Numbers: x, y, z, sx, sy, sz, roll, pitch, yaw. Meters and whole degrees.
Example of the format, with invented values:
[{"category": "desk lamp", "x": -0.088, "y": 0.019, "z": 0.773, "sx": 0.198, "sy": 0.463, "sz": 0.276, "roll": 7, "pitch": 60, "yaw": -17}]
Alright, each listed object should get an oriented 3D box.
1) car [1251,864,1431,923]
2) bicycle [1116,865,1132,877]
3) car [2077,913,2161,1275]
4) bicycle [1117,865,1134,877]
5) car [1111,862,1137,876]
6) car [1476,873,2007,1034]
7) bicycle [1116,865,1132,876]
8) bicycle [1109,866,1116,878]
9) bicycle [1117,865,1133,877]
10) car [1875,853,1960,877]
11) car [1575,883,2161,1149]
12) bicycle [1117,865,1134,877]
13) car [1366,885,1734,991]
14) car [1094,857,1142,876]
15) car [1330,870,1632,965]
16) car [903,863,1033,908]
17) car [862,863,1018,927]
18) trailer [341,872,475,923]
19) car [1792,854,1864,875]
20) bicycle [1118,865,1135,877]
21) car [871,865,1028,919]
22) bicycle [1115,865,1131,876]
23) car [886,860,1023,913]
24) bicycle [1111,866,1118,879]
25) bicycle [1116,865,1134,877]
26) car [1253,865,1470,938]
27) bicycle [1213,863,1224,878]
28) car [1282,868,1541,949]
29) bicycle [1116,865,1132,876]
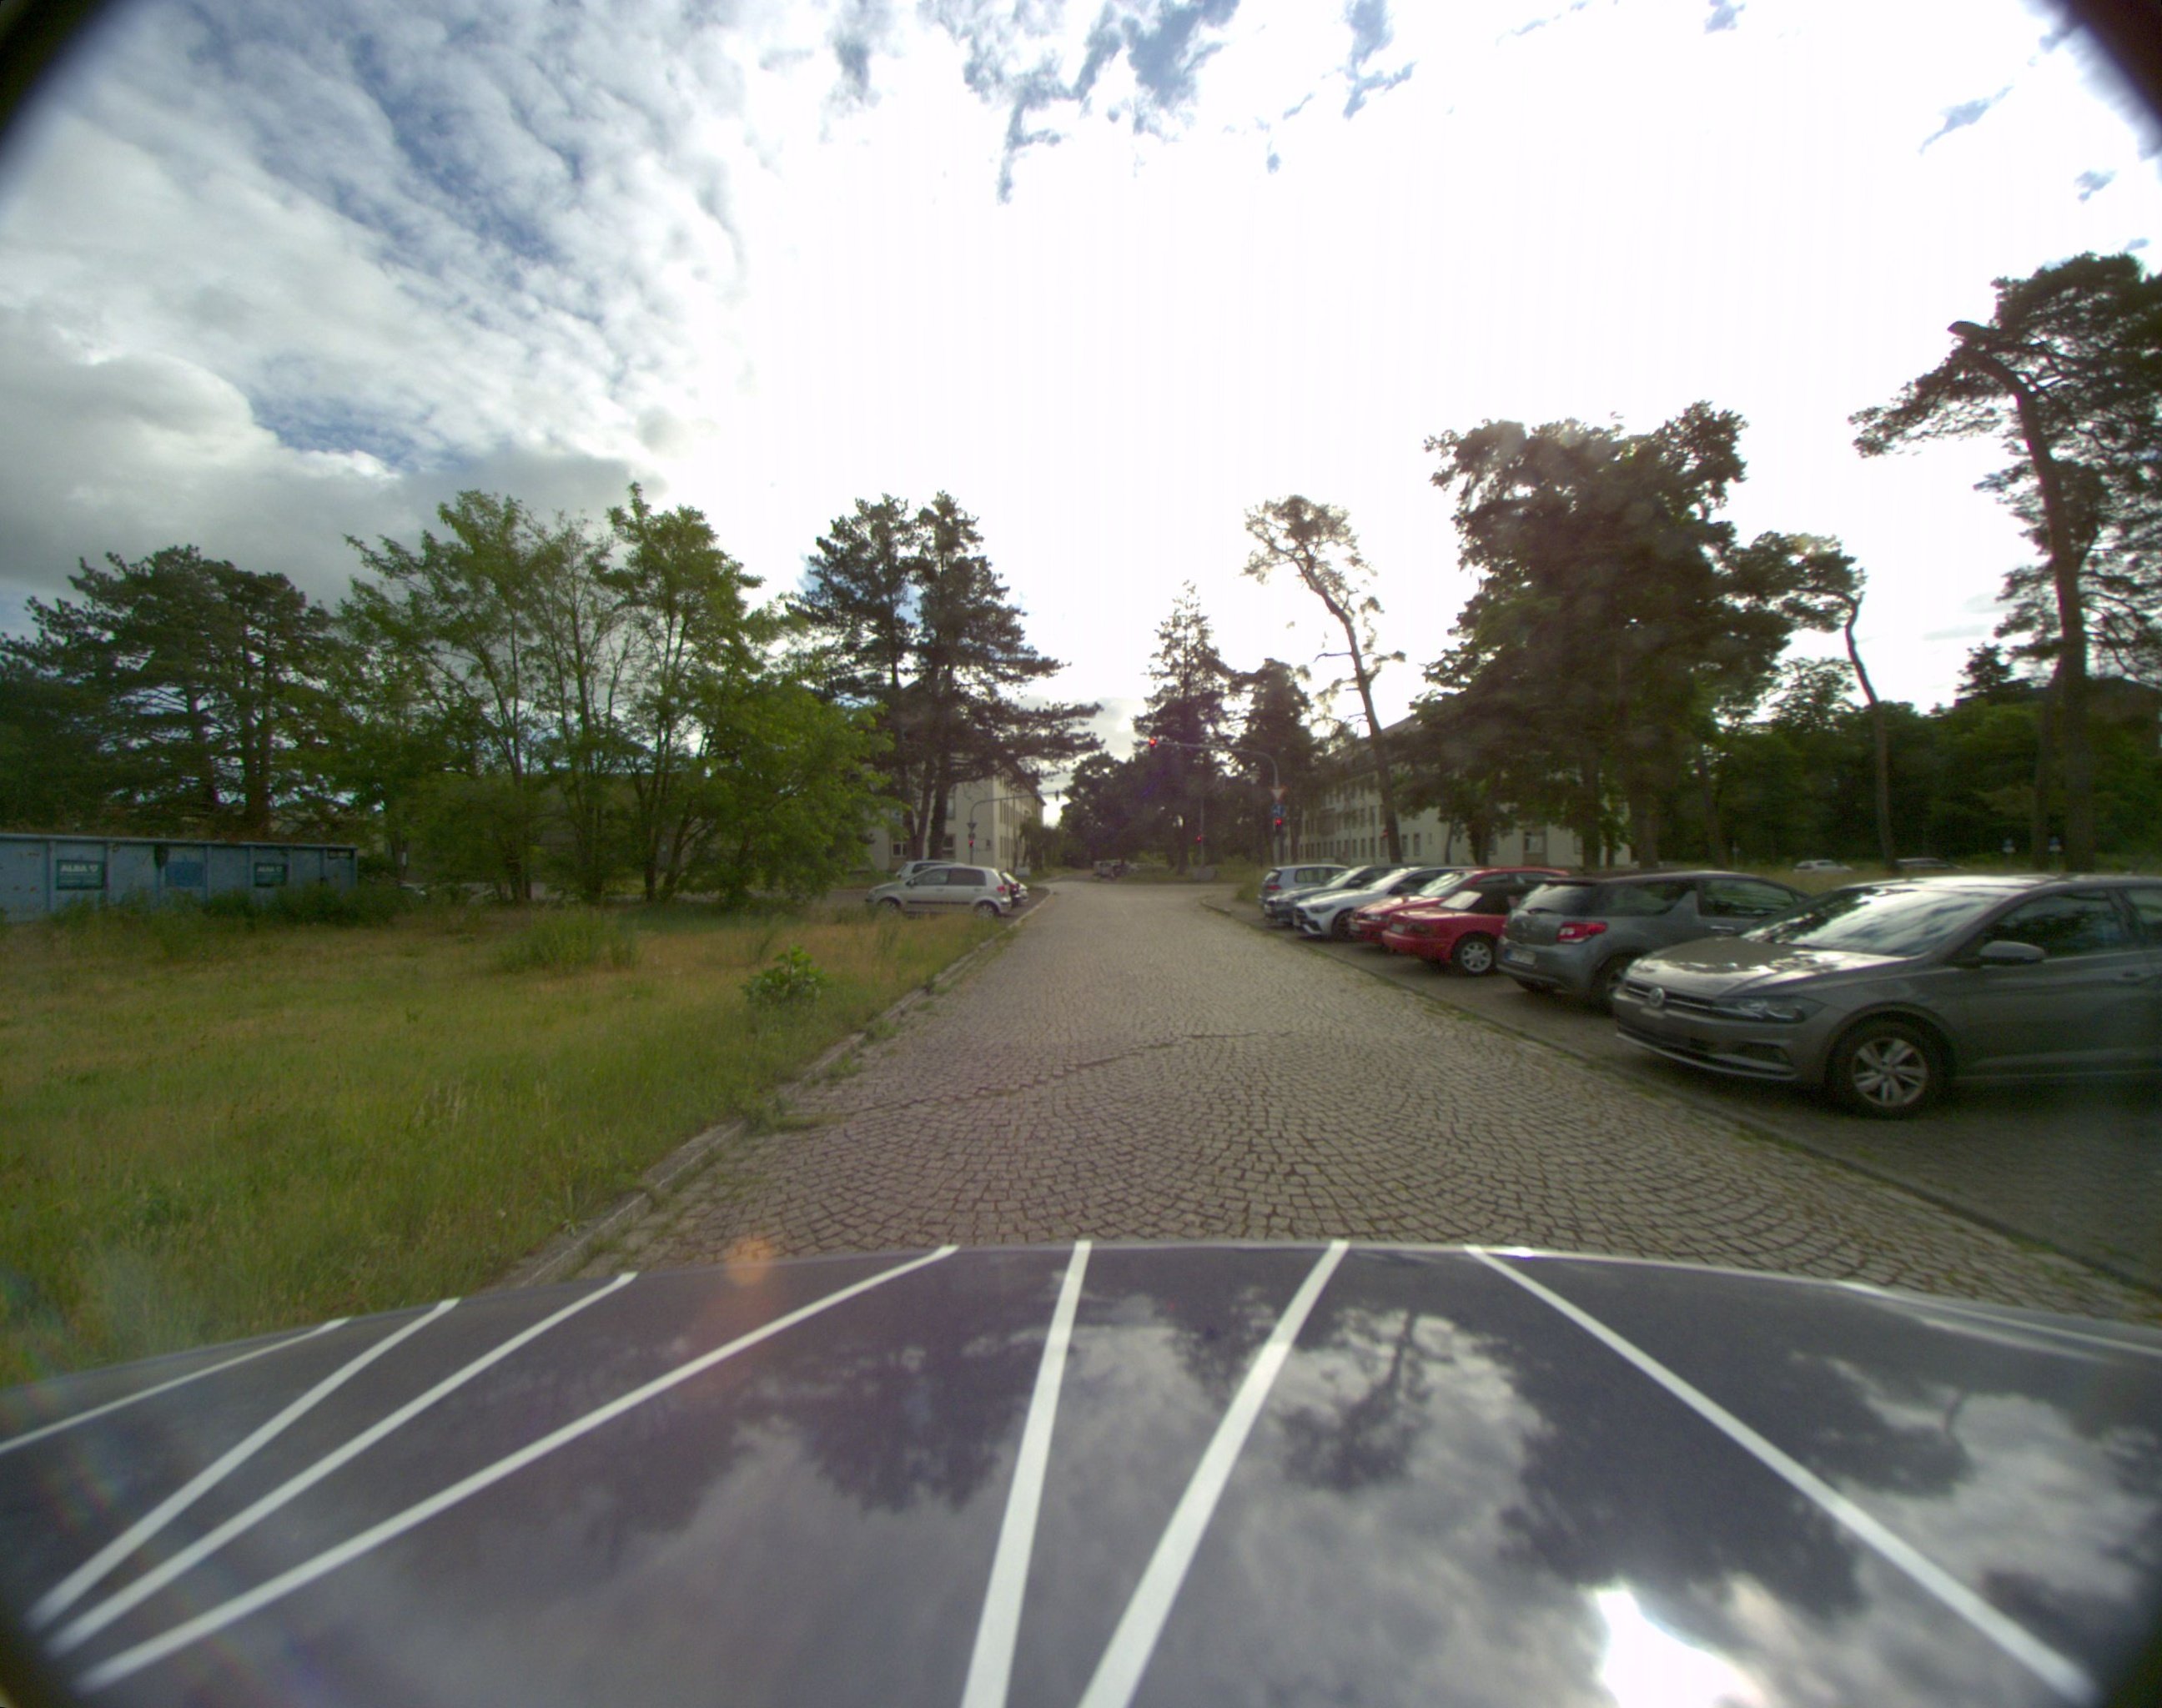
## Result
[{"category": "car", "x": 7.011, "y": 1.056, "z": 20.852, "sx": 4.339, "sy": 1.462, "sz": 1.827, "roll": -1, "pitch": 0, "yaw": 2}, {"category": "bicycle", "x": 4.160, "y": 1.638, "z": 73.274, "sx": 1.456, "sy": 1.032, "sz": 0.497, "roll": -3, "pitch": 0, "yaw": -4}, {"category": "car", "x": 6.473, "y": 0.971, "z": 2.422, "sx": 4.014, "sy": 1.493, "sz": 1.843, "roll": -1, "pitch": 0, "yaw": 3}, {"category": "bicycle", "x": 4.110, "y": 1.610, "z": 70.495, "sx": 1.456, "sy": 1.032, "sz": 0.497, "roll": -3, "pitch": 0, "yaw": -4}, {"category": "car", "x": 4.755, "y": 1.640, "z": 84.464, "sx": 2.771, "sy": 1.407, "sz": 1.592, "roll": -3, "pitch": 0, "yaw": 0}, {"category": "car", "x": 6.762, "y": 0.990, "z": 8.167, "sx": 4.097, "sy": 1.472, "sz": 1.755, "roll": -1, "pitch": 0, "yaw": 2}, {"category": "bicycle", "x": 4.242, "y": 1.630, "z": 74.397, "sx": 1.456, "sy": 1.032, "sz": 0.497, "roll": -3, "pitch": 0, "yaw": -4}, {"category": "bicycle", "x": 2.818, "y": 1.629, "z": 68.330, "sx": 0.497, "sy": 1.032, "sz": 1.416, "roll": -3, "pitch": 0, "yaw": 0}, {"category": "bicycle", "x": 4.183, "y": 1.606, "z": 72.805, "sx": 1.456, "sy": 1.032, "sz": 0.497, "roll": -3, "pitch": 0, "yaw": -4}, {"category": "car", "x": 59.978, "y": 0.792, "z": 54.539, "sx": 4.054, "sy": 1.601, "sz": 1.717, "roll": -1, "pitch": 1, "yaw": 3}, {"category": "car", "x": 6.189, "y": 0.995, "z": 5.295, "sx": 4.314, "sy": 1.472, "sz": 1.731, "roll": -1, "pitch": 0, "yaw": 3}, {"category": "bicycle", "x": 4.240, "y": 1.617, "z": 72.113, "sx": 1.456, "sy": 1.032, "sz": 0.497, "roll": -3, "pitch": 0, "yaw": -4}, {"category": "car", "x": 6.470, "y": 1.147, "z": 10.855, "sx": 4.141, "sy": 1.275, "sz": 1.764, "roll": -1, "pitch": 0, "yaw": 1}, {"category": "car", "x": 4.245, "y": 1.447, "z": 87.812, "sx": 5.172, "sy": 1.905, "sz": 2.034, "roll": -2, "pitch": 0, "yaw": -12}, {"category": "car", "x": 6.775, "y": 1.053, "z": 13.232, "sx": 4.264, "sy": 1.446, "sz": 1.855, "roll": -1, "pitch": 0, "yaw": 1}, {"category": "car", "x": -4.113, "y": 1.151, "z": 28.191, "sx": 4.562, "sy": 1.417, "sz": 1.826, "roll": 2, "pitch": 0, "yaw": -2}, {"category": "car", "x": -3.653, "y": 1.064, "z": 20.212, "sx": 3.782, "sy": 1.471, "sz": 1.743, "roll": 2, "pitch": -1, "yaw": -2}, {"category": "trailer", "x": -17.049, "y": 1.095, "z": 19.302, "sx": 2.318, "sy": 1.163, "sz": 1.144, "roll": -2, "pitch": 1, "yaw": 0}, {"category": "car", "x": 60.833, "y": 0.860, "z": 61.930, "sx": 4.053, "sy": 1.601, "sz": 1.717, "roll": -1, "pitch": 1, "yaw": 5}, {"category": "bicycle", "x": 4.258, "y": 1.621, "z": 71.528, "sx": 1.456, "sy": 1.032, "sz": 0.497, "roll": -3, "pitch": 0, "yaw": -4}, {"category": "car", "x": -3.867, "y": 1.118, "z": 22.919, "sx": 4.377, "sy": 1.397, "sz": 1.797, "roll": 2, "pitch": -1, "yaw": 0}, {"category": "bicycle", "x": 4.196, "y": 1.656, "z": 76.412, "sx": 1.456, "sy": 1.032, "sz": 0.497, "roll": -3, "pitch": 0, "yaw": -4}, {"category": "car", "x": -4.178, "y": 1.058, "z": 25.614, "sx": 4.342, "sy": 1.565, "sz": 1.826, "roll": 2, "pitch": 0, "yaw": -4}, {"category": "bicycle", "x": 2.975, "y": 1.619, "z": 66.722, "sx": 0.497, "sy": 1.068, "sz": 1.416, "roll": -3, "pitch": 0, "yaw": 0}, {"category": "bicycle", "x": 4.033, "y": 1.591, "z": 69.701, "sx": 1.457, "sy": 1.032, "sz": 0.497, "roll": -3, "pitch": 0, "yaw": -6}, {"category": "car", "x": 6.608, "y": 1.093, "z": 18.233, "sx": 4.513, "sy": 1.528, "sz": 1.870, "roll": -1, "pitch": 0, "yaw": -2}, {"category": "bicycle", "x": 10.374, "y": 1.255, "z": 57.269, "sx": 0.497, "sy": 1.068, "sz": 1.416, "roll": -3, "pitch": 0, "yaw": -2}, {"category": "car", "x": 6.587, "y": 1.061, "z": 15.546, "sx": 4.447, "sy": 1.447, "sz": 1.949, "roll": -1, "pitch": 0, "yaw": 2}, {"category": "bicycle", "x": 4.210, "y": 1.627, "z": 74.888, "sx": 1.456, "sy": 1.032, "sz": 0.497, "roll": -3, "pitch": 0, "yaw": -4}]
